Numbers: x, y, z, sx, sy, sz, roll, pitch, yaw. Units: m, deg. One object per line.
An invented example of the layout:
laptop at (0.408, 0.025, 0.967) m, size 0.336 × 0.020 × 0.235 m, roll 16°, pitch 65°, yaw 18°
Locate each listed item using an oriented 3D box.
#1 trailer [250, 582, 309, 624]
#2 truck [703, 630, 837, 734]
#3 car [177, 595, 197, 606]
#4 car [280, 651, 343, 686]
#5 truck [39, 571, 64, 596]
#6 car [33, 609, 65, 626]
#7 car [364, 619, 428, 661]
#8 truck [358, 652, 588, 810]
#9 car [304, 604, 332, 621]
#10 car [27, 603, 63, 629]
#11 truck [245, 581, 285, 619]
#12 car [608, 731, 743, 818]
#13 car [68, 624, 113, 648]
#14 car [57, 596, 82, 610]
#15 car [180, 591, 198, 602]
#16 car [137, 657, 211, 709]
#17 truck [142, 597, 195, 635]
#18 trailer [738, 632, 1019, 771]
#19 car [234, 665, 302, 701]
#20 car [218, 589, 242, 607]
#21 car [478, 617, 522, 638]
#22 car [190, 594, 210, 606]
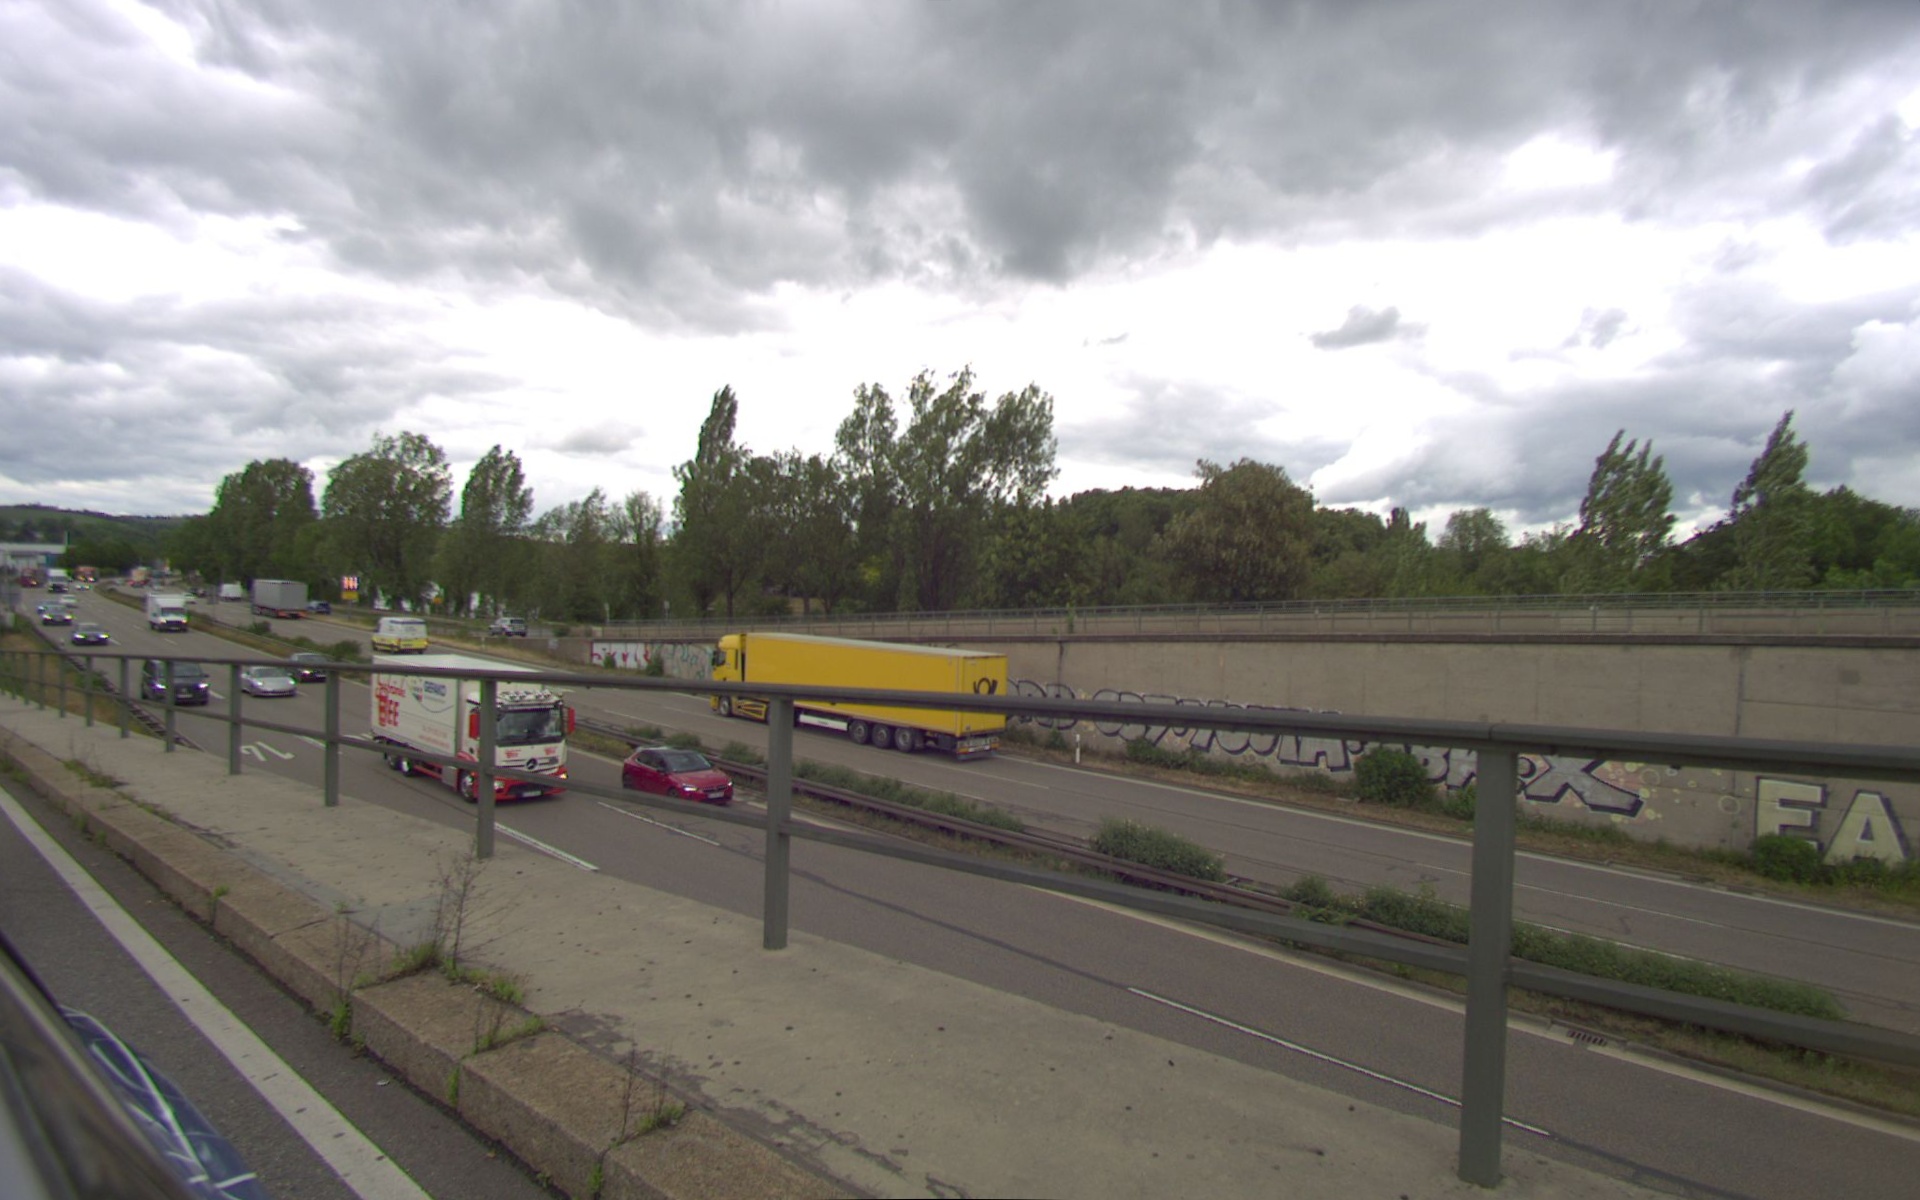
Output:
trailer at (-76.916, 0.205, 114.240) m, size 13.772 × 4.170 × 2.755 m, roll 3°, pitch 1°, yaw 45°
truck at (-8.864, 3.630, 46.907) m, size 5.804 × 4.213 × 3.205 m, roll 2°, pitch 0°, yaw 43°
car at (-110.435, 0.048, 144.561) m, size 4.002 × 1.431 × 1.660 m, roll 3°, pitch 0°, yaw 44°
car at (-35.340, 3.703, 55.100) m, size 4.425 × 1.476 × 1.838 m, roll 2°, pitch 2°, yaw 43°
truck at (-157.400, -2.926, 175.363) m, size 2.968 × 4.140 × 5.880 m, roll 3°, pitch 0°, yaw -44°
car at (-93.770, 1.780, 104.126) m, size 3.999 × 1.544 × 1.973 m, roll 2°, pitch -1°, yaw 41°
car at (-41.123, 2.857, 73.695) m, size 6.715 × 2.648 × 1.972 m, roll 2°, pitch -1°, yaw 43°
truck at (-15.202, 3.680, 31.050) m, size 9.873 × 3.552 × 2.850 m, roll 2°, pitch -1°, yaw 43°
car at (-81.151, 1.529, 127.931) m, size 1.970 × 1.914 × 4.587 m, roll 6°, pitch -3°, yaw -44°
car at (-79.225, 1.396, 87.600) m, size 4.001 × 2.029 × 1.971 m, roll 2°, pitch -1°, yaw 43°
truck at (-81.697, -0.039, 118.972) m, size 5.939 × 4.170 × 2.755 m, roll 3°, pitch 1°, yaw 45°
car at (-8.258, 4.941, 29.196) m, size 4.183 × 1.590 × 1.810 m, roll 4°, pitch 3°, yaw 43°
car at (-60.836, 2.505, 70.789) m, size 4.126 × 1.461 × 1.804 m, roll 2°, pitch 0°, yaw 41°
car at (-105.398, 0.354, 119.728) m, size 3.335 × 1.539 × 1.746 m, roll 2°, pitch 0°, yaw 41°
car at (-144.344, -0.676, 189.510) m, size 4.562 × 1.831 × 1.861 m, roll 2°, pitch -3°, yaw 42°
car at (-34.636, 3.601, 44.570) m, size 4.427 × 1.853 × 1.971 m, roll 2°, pitch 0°, yaw 45°
truck at (-67.970, 1.329, 86.858) m, size 7.229 × 3.031 × 2.210 m, roll 2°, pitch 1°, yaw 41°
trailer at (-3.898, 3.819, 42.247) m, size 13.682 × 4.294 × 3.205 m, roll 2°, pitch 0°, yaw 43°
car at (-33.237, 3.956, 48.552) m, size 4.153 × 1.311 × 1.766 m, roll 3°, pitch 0°, yaw 43°
car at (-116.393, -0.365, 161.396) m, size 5.180 × 2.669 × 1.972 m, roll 2°, pitch -3°, yaw 42°
car at (-38.732, 2.303, 85.202) m, size 4.378 × 1.664 × 1.872 m, roll -1°, pitch 0°, yaw 44°
car at (-131.349, 0.057, 174.845) m, size 4.562 × 1.831 × 1.861 m, roll 2°, pitch -3°, yaw 42°
